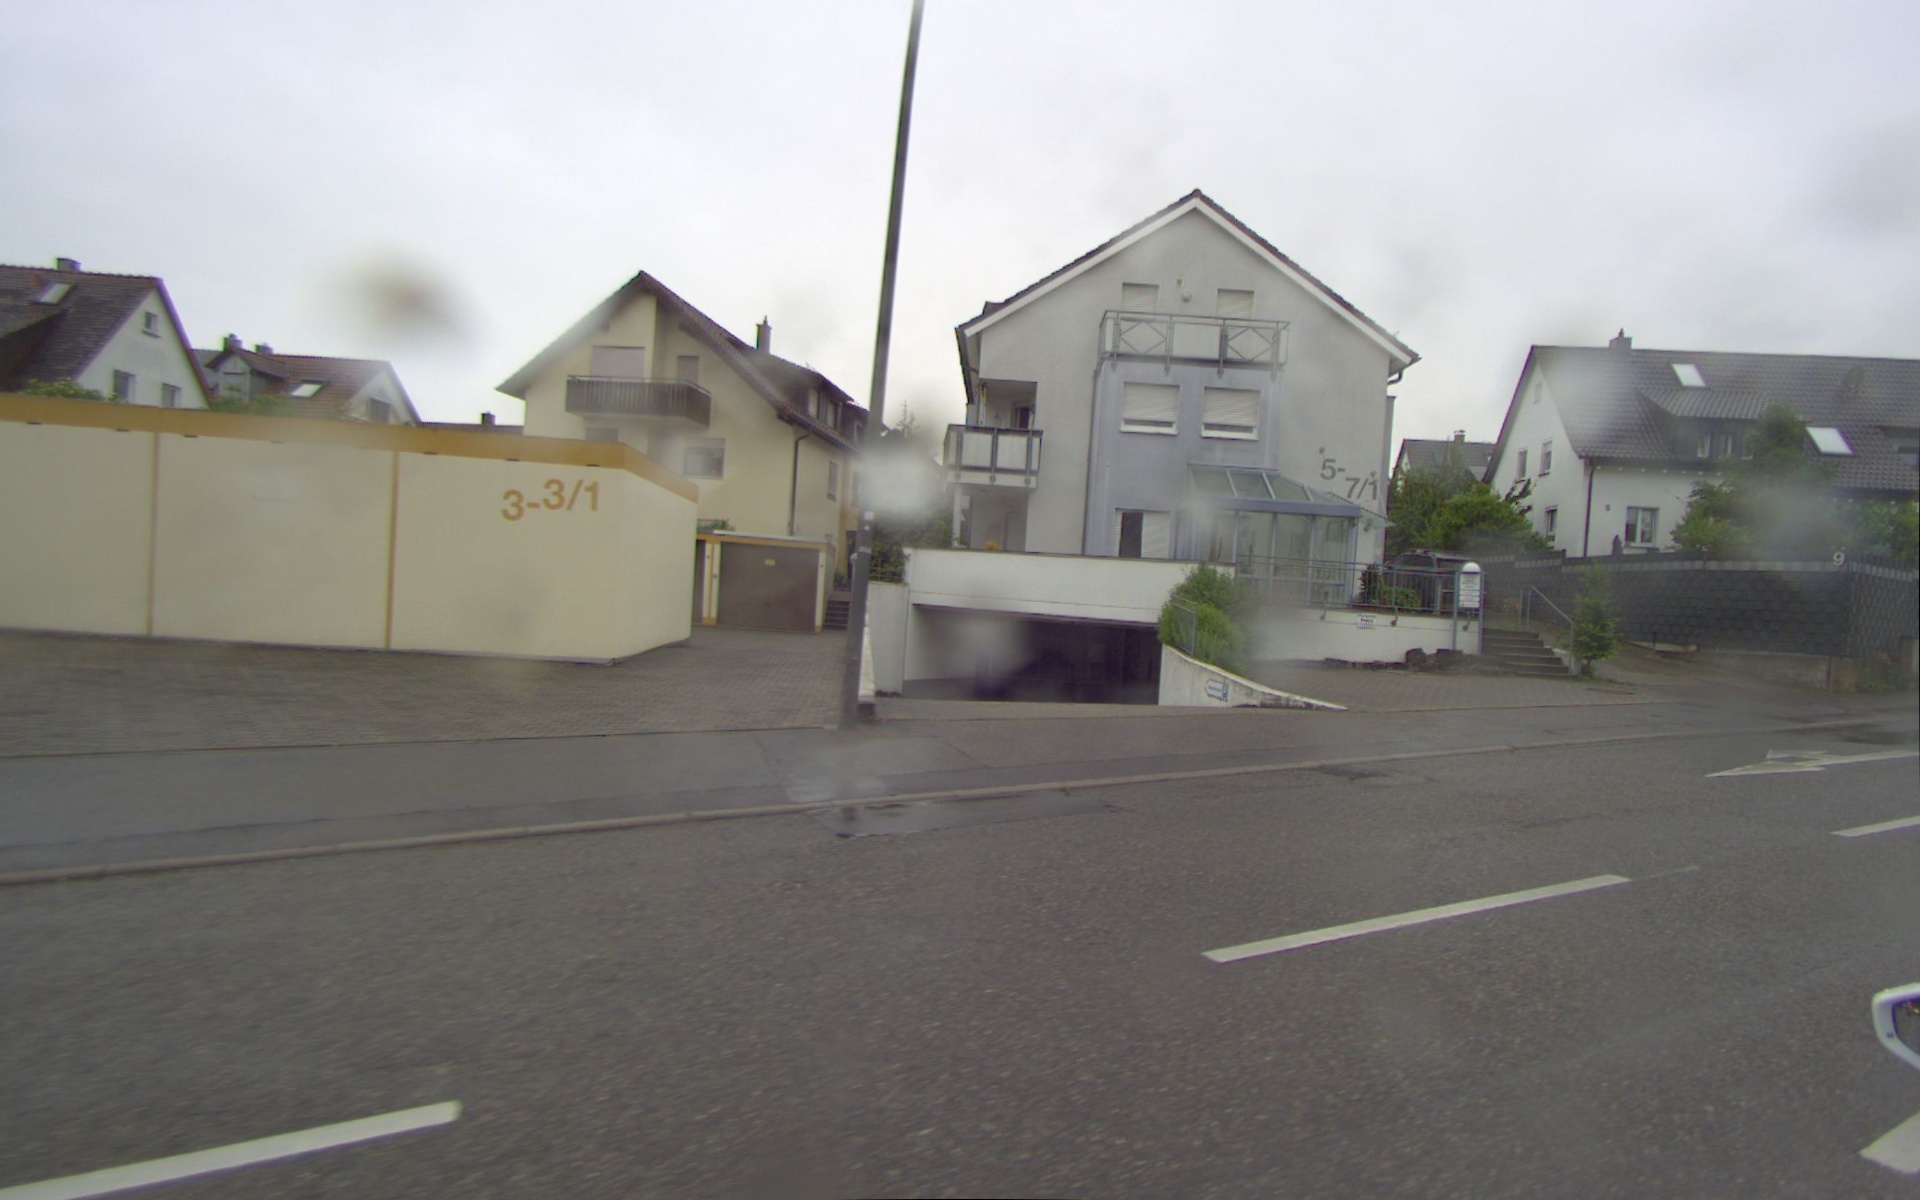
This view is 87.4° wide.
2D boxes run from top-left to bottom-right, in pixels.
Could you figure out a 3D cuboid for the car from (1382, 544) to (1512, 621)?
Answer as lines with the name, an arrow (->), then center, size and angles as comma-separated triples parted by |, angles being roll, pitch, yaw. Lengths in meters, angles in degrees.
car -> 14.376, -0.600, 29.930 | 1.960, 1.806, 4.000 | 4, 6, 4
